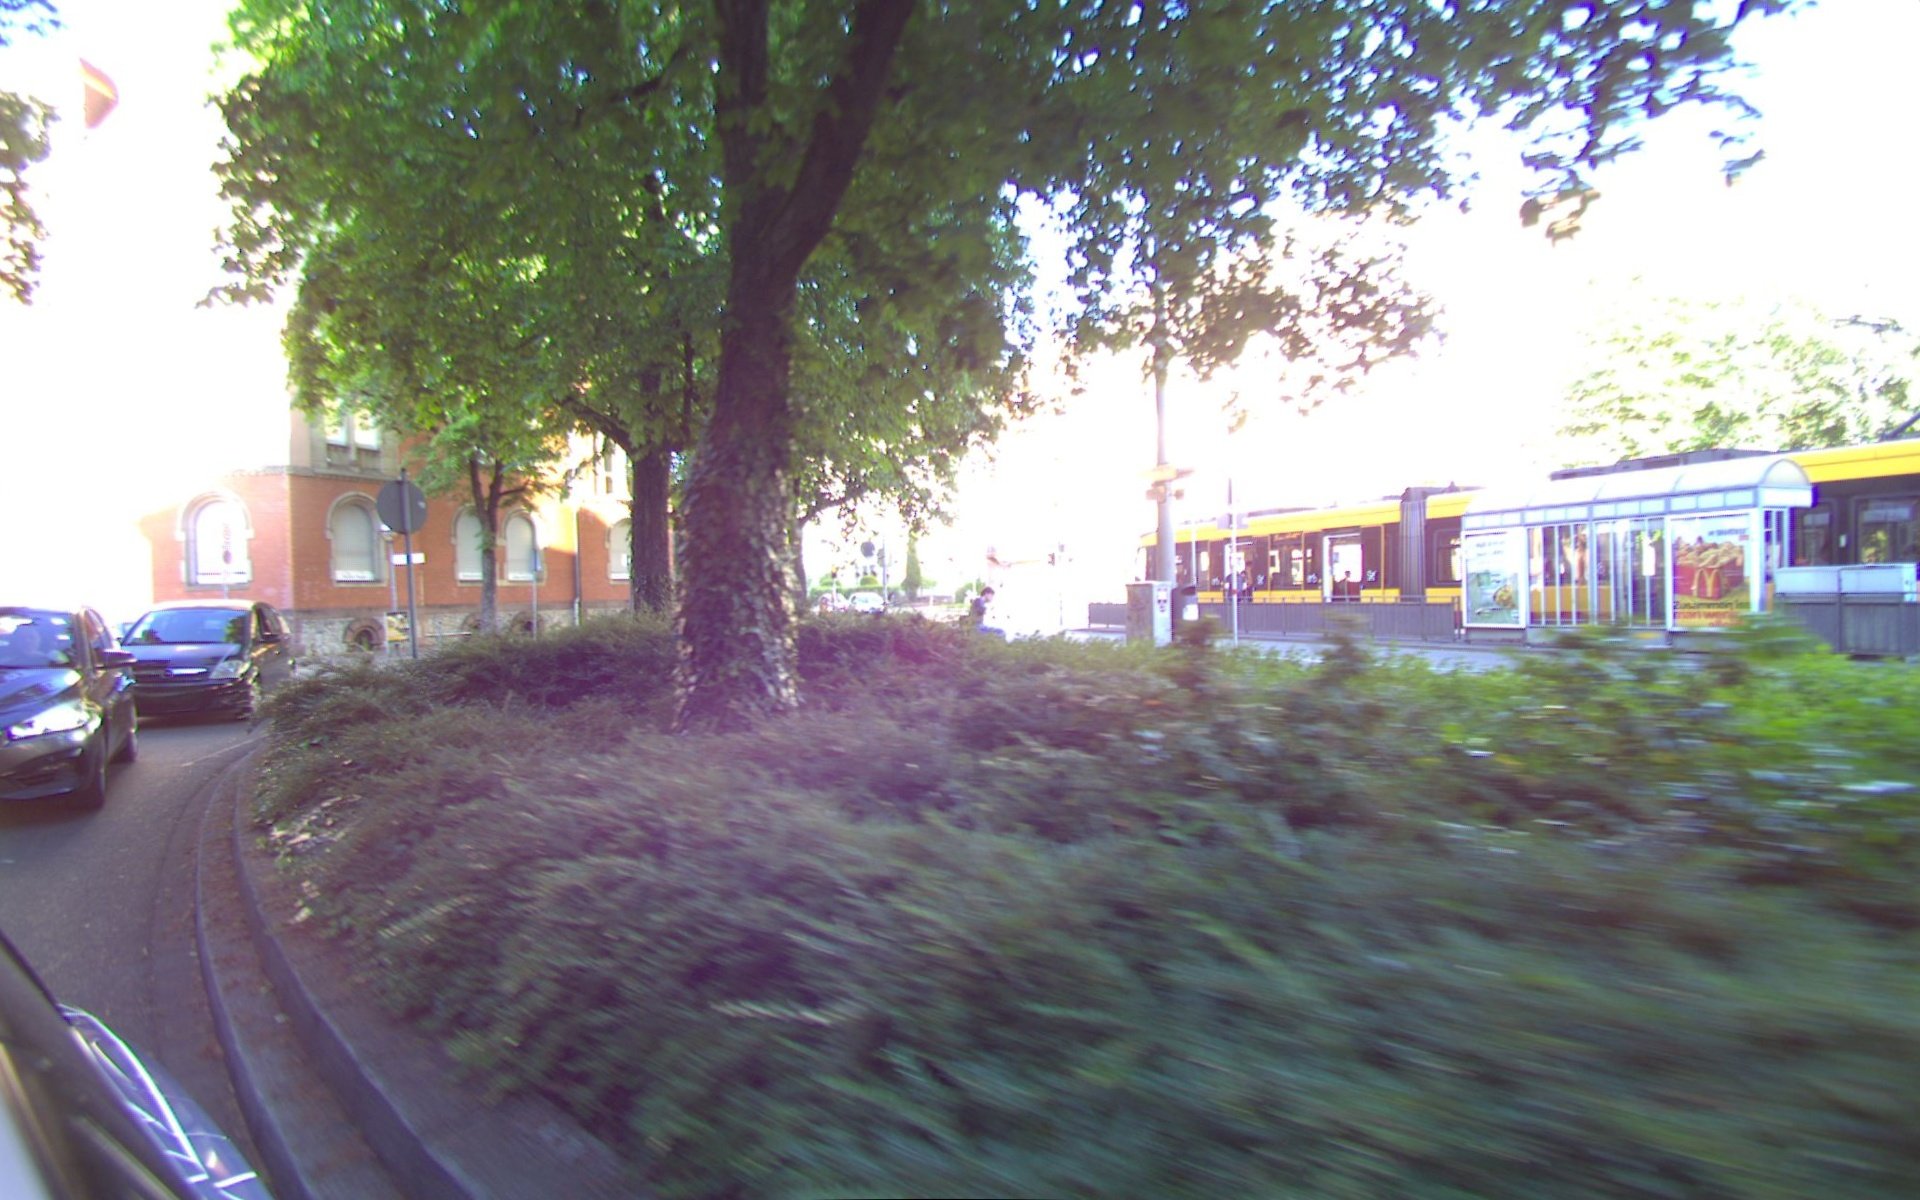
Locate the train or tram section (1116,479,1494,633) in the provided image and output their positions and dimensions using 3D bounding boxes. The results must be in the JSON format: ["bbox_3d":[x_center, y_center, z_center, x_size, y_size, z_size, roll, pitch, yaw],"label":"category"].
[{"bbox_3d":[9.250,-1.053,30.046,2.726,3.584,12.724,-2,1,-23],"label":"train or tram section"}]

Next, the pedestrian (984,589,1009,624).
[{"bbox_3d":[1.759,0.306,49.013,0.724,1.647,0.894,-3,1,36],"label":"pedestrian"}]

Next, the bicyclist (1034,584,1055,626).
[{"bbox_3d":[3.250,0.193,38.843,0.588,1.585,0.557,-2,0,-21],"label":"bicyclist"}]

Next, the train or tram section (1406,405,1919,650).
[{"bbox_3d":[14.160,-1.096,18.433,2.738,3.614,12.461,-2,1,-23],"label":"train or tram section"}]

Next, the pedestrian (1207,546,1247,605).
[{"bbox_3d":[7.749,-0.710,29.391,0.893,1.647,0.725,-3,1,5],"label":"pedestrian"}]

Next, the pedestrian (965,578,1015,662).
[{"bbox_3d":[0.539,0.348,18.247,0.698,1.454,0.602,-2,1,-16],"label":"pedestrian"}]

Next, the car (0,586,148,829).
[{"bbox_3d":[-7.882,0.738,8.147,1.765,1.590,4.271,-1,0,-35],"label":"car"}]

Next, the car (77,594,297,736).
[{"bbox_3d":[-10.474,0.780,14.002,1.651,1.640,3.700,-2,0,-26],"label":"car"}]

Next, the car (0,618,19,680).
[{"bbox_3d":[-25.887,1.279,25.376,3.168,1.551,1.493,-1,0,-2],"label":"car"}]
